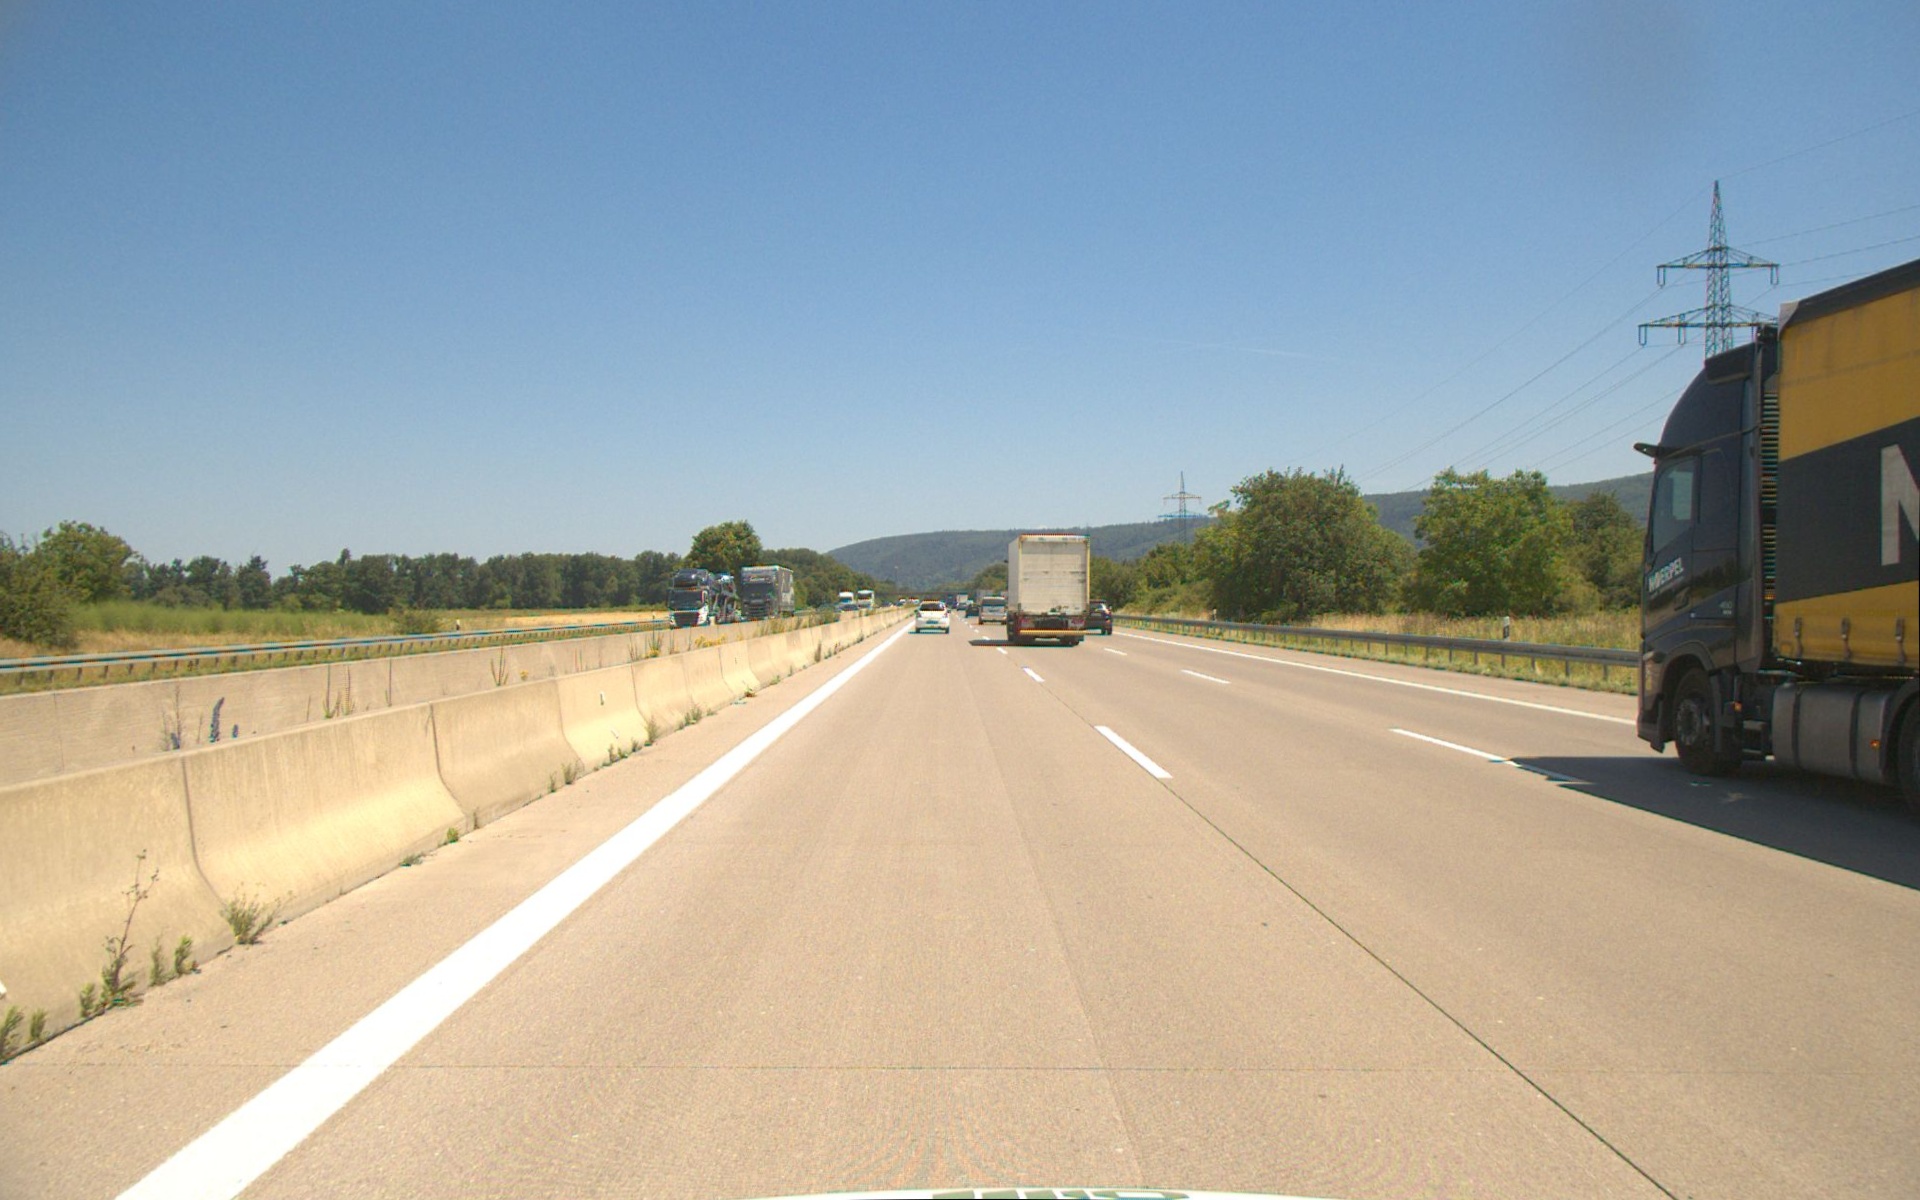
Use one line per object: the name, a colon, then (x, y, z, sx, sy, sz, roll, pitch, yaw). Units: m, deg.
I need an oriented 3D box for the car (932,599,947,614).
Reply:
car: (-2.855, 0.918, 227.014, 1.953, 1.881, 3.999, 3, 0, -1)

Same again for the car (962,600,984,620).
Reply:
car: (1.271, 1.005, 167.619, 1.954, 1.881, 3.998, 3, 0, -3)

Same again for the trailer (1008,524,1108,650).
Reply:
trailer: (3.254, -0.392, 57.447, 2.529, 3.945, 10.369, 1, 0, -2)

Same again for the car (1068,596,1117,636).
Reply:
car: (6.614, 0.796, 82.800, 1.953, 1.881, 3.999, 3, 0, -1)

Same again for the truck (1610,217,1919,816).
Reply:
truck: (7.770, -0.579, 14.292, 1.953, 4.266, 5.705, 1, 0, -1)

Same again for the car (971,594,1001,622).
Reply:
car: (1.794, 0.563, 115.609, 1.953, 1.881, 3.999, 1, 0, -1)

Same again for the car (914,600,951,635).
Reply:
car: (-1.382, 0.831, 81.220, 1.783, 1.691, 3.998, 0, 0, -2)

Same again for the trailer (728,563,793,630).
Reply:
trailer: (-14.437, -0.227, 120.848, 3.201, 4.554, 14.448, -1, 0, -1)

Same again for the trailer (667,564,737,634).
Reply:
trailer: (-18.297, -0.074, 118.172, 3.166, 4.687, 12.290, 1, 0, -1)

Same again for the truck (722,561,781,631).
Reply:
truck: (-14.242, -0.243, 113.547, 3.201, 4.554, 7.187, -1, 0, -1)

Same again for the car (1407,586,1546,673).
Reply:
car: (12.276, 0.670, 39.580, 1.953, 1.881, 3.999, 3, 0, -1)

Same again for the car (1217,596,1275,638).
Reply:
car: (13.686, 0.817, 79.443, 1.953, 1.881, 3.999, 3, 0, -1)

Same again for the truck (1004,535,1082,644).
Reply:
truck: (3.119, -0.378, 63.055, 2.529, 3.945, 4.982, 1, 0, -2)

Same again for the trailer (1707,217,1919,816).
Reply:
trailer: (7.867, -0.597, 7.629, 1.953, 4.266, 14.743, 1, 0, -1)

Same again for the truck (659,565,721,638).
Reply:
truck: (-18.182, 0.107, 111.846, 3.166, 4.687, 6.249, 1, 0, -1)
